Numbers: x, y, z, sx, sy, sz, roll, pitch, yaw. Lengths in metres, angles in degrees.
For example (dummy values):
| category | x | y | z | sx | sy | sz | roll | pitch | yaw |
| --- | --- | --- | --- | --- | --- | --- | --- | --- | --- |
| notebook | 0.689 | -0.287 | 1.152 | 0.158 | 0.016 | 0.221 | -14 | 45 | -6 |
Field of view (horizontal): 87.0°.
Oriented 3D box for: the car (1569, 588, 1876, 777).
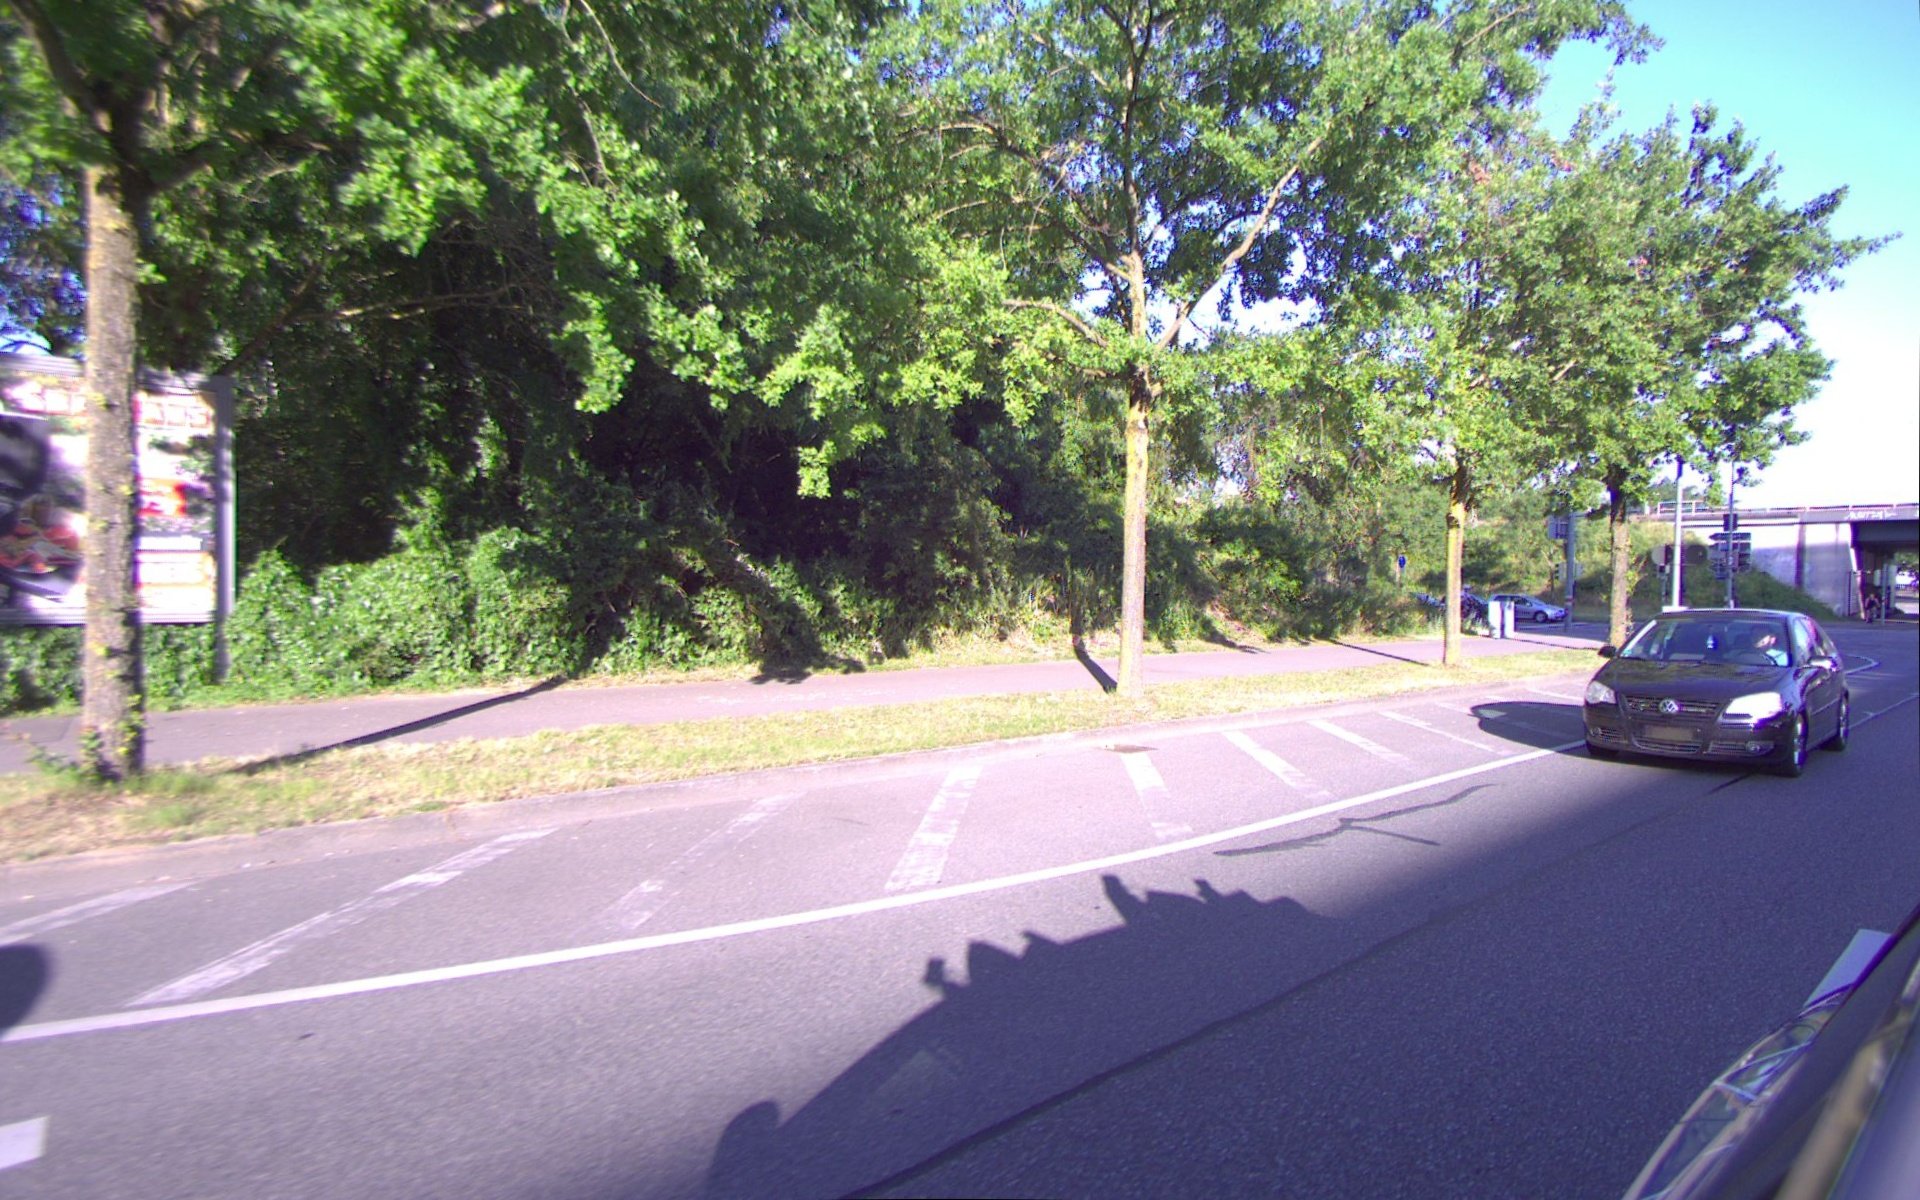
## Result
| category | x | y | z | sx | sy | sz | roll | pitch | yaw |
| --- | --- | --- | --- | --- | --- | --- | --- | --- | --- |
| car | 7.793 | 0.682 | 10.200 | 4.141 | 1.518 | 1.724 | 1 | -1 | -42 |

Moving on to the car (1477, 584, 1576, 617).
| category | x | y | z | sx | sy | sz | roll | pitch | yaw |
| --- | --- | --- | --- | --- | --- | --- | --- | --- | --- |
| car | 30.721 | 0.002 | 54.987 | 1.896 | 1.537 | 4.290 | 0 | 2 | -37 |

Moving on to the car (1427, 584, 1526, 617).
| category | x | y | z | sx | sy | sz | roll | pitch | yaw |
| --- | --- | --- | --- | --- | --- | --- | --- | --- | --- |
| car | 27.599 | 0.004 | 54.149 | 1.896 | 1.537 | 4.290 | 0 | 2 | -37 |
